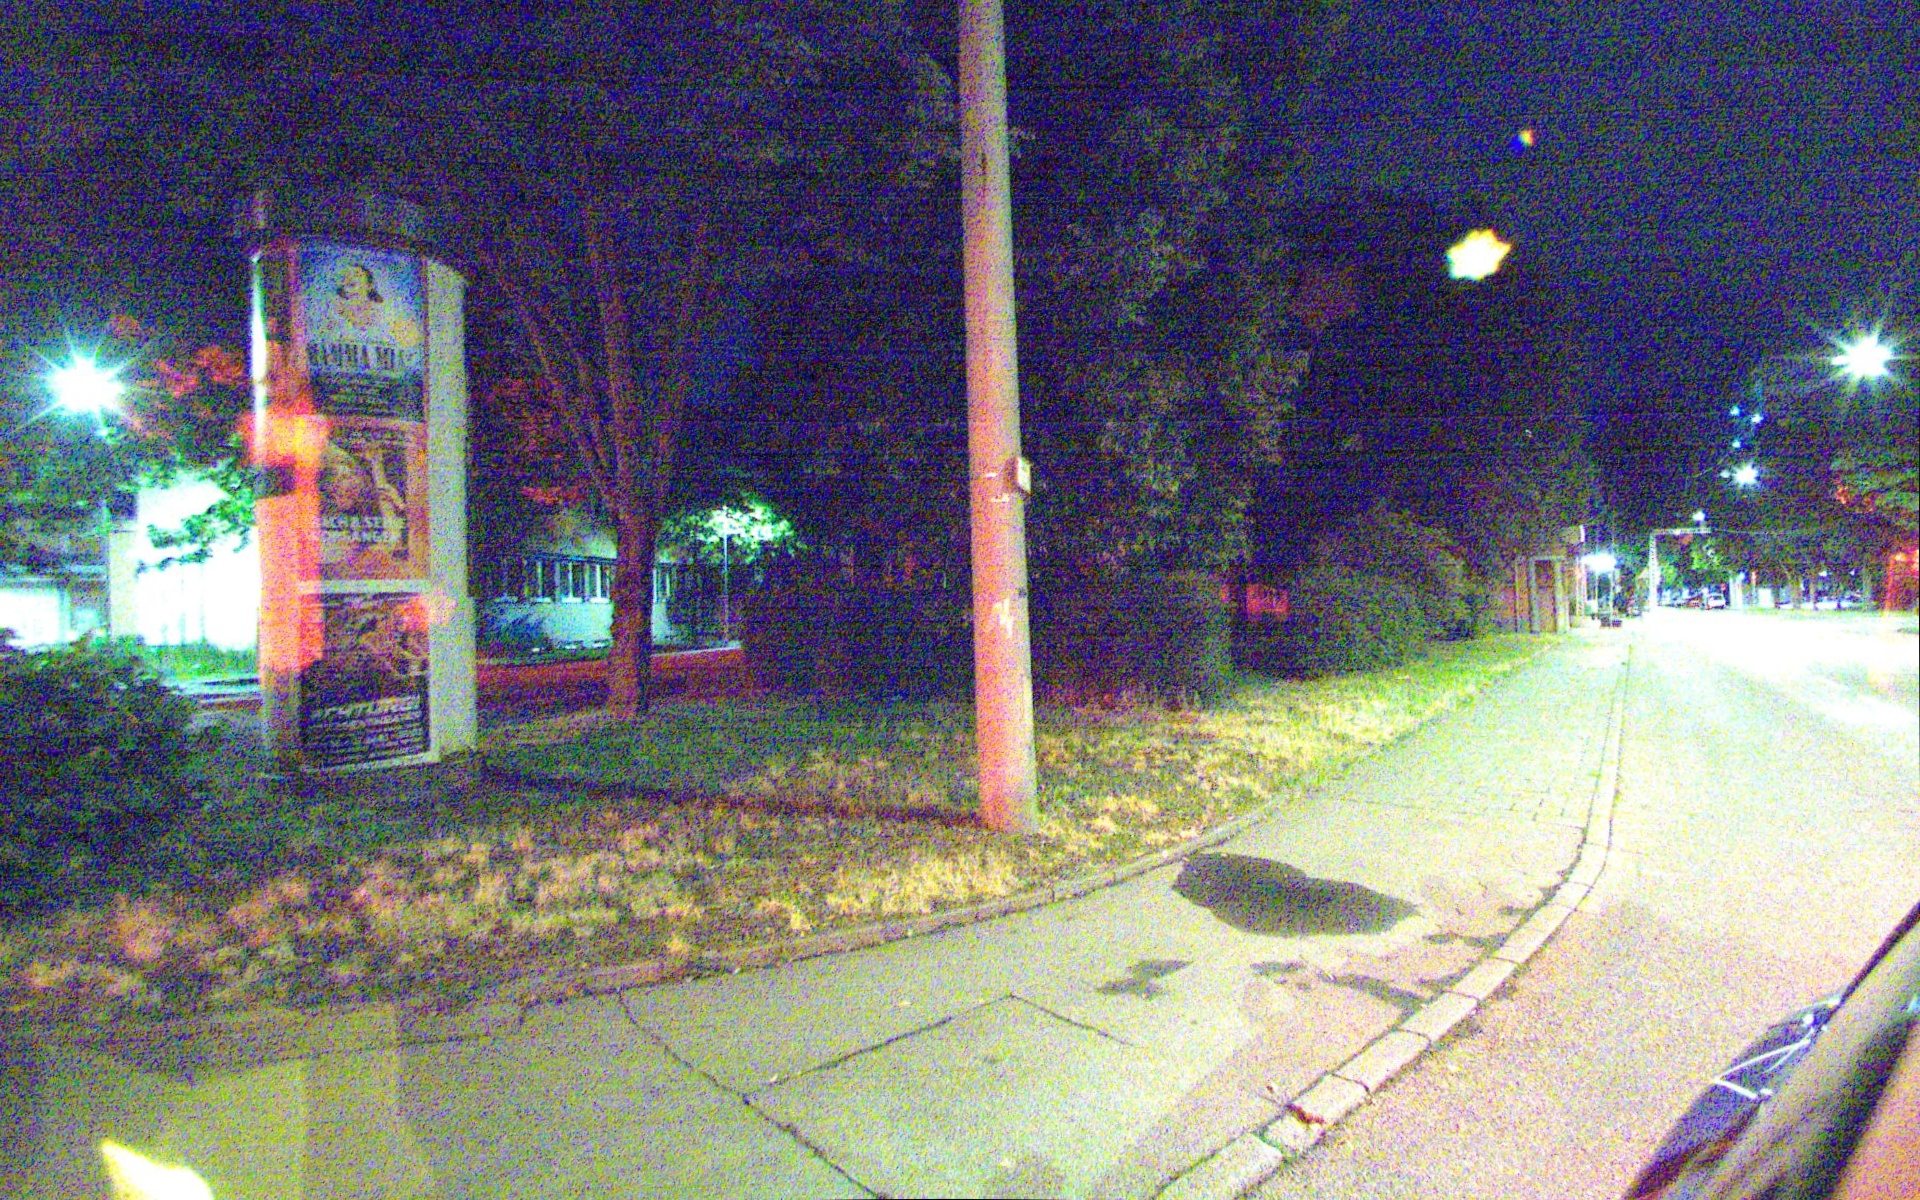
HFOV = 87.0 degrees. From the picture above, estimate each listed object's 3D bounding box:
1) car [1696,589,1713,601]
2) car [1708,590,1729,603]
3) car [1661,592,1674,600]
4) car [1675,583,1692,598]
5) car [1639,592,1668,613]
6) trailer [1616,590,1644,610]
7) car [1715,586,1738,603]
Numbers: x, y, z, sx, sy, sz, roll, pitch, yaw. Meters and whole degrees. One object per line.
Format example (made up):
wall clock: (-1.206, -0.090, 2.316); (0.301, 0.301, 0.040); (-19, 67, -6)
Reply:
car: (103.487, -0.668, 140.695); (1.815, 1.668, 3.684); (-1, 0, 35)
car: (91.698, -0.384, 122.359); (1.815, 1.450, 3.684); (-5, -3, 35)
car: (140.985, -0.771, 201.776); (1.813, 1.450, 3.689); (-5, -2, 32)
car: (127.318, -1.636, 178.101); (1.990, 2.540, 4.898); (-5, -3, 32)
car: (50.200, 0.170, 73.243); (1.582, 1.480, 3.747); (-3, -1, 36)
trailer: (54.047, 0.024, 81.631); (1.596, 1.514, 3.683); (-3, -2, 37)
car: (88.753, -0.645, 117.230); (1.871, 1.832, 3.684); (-5, -3, 35)
